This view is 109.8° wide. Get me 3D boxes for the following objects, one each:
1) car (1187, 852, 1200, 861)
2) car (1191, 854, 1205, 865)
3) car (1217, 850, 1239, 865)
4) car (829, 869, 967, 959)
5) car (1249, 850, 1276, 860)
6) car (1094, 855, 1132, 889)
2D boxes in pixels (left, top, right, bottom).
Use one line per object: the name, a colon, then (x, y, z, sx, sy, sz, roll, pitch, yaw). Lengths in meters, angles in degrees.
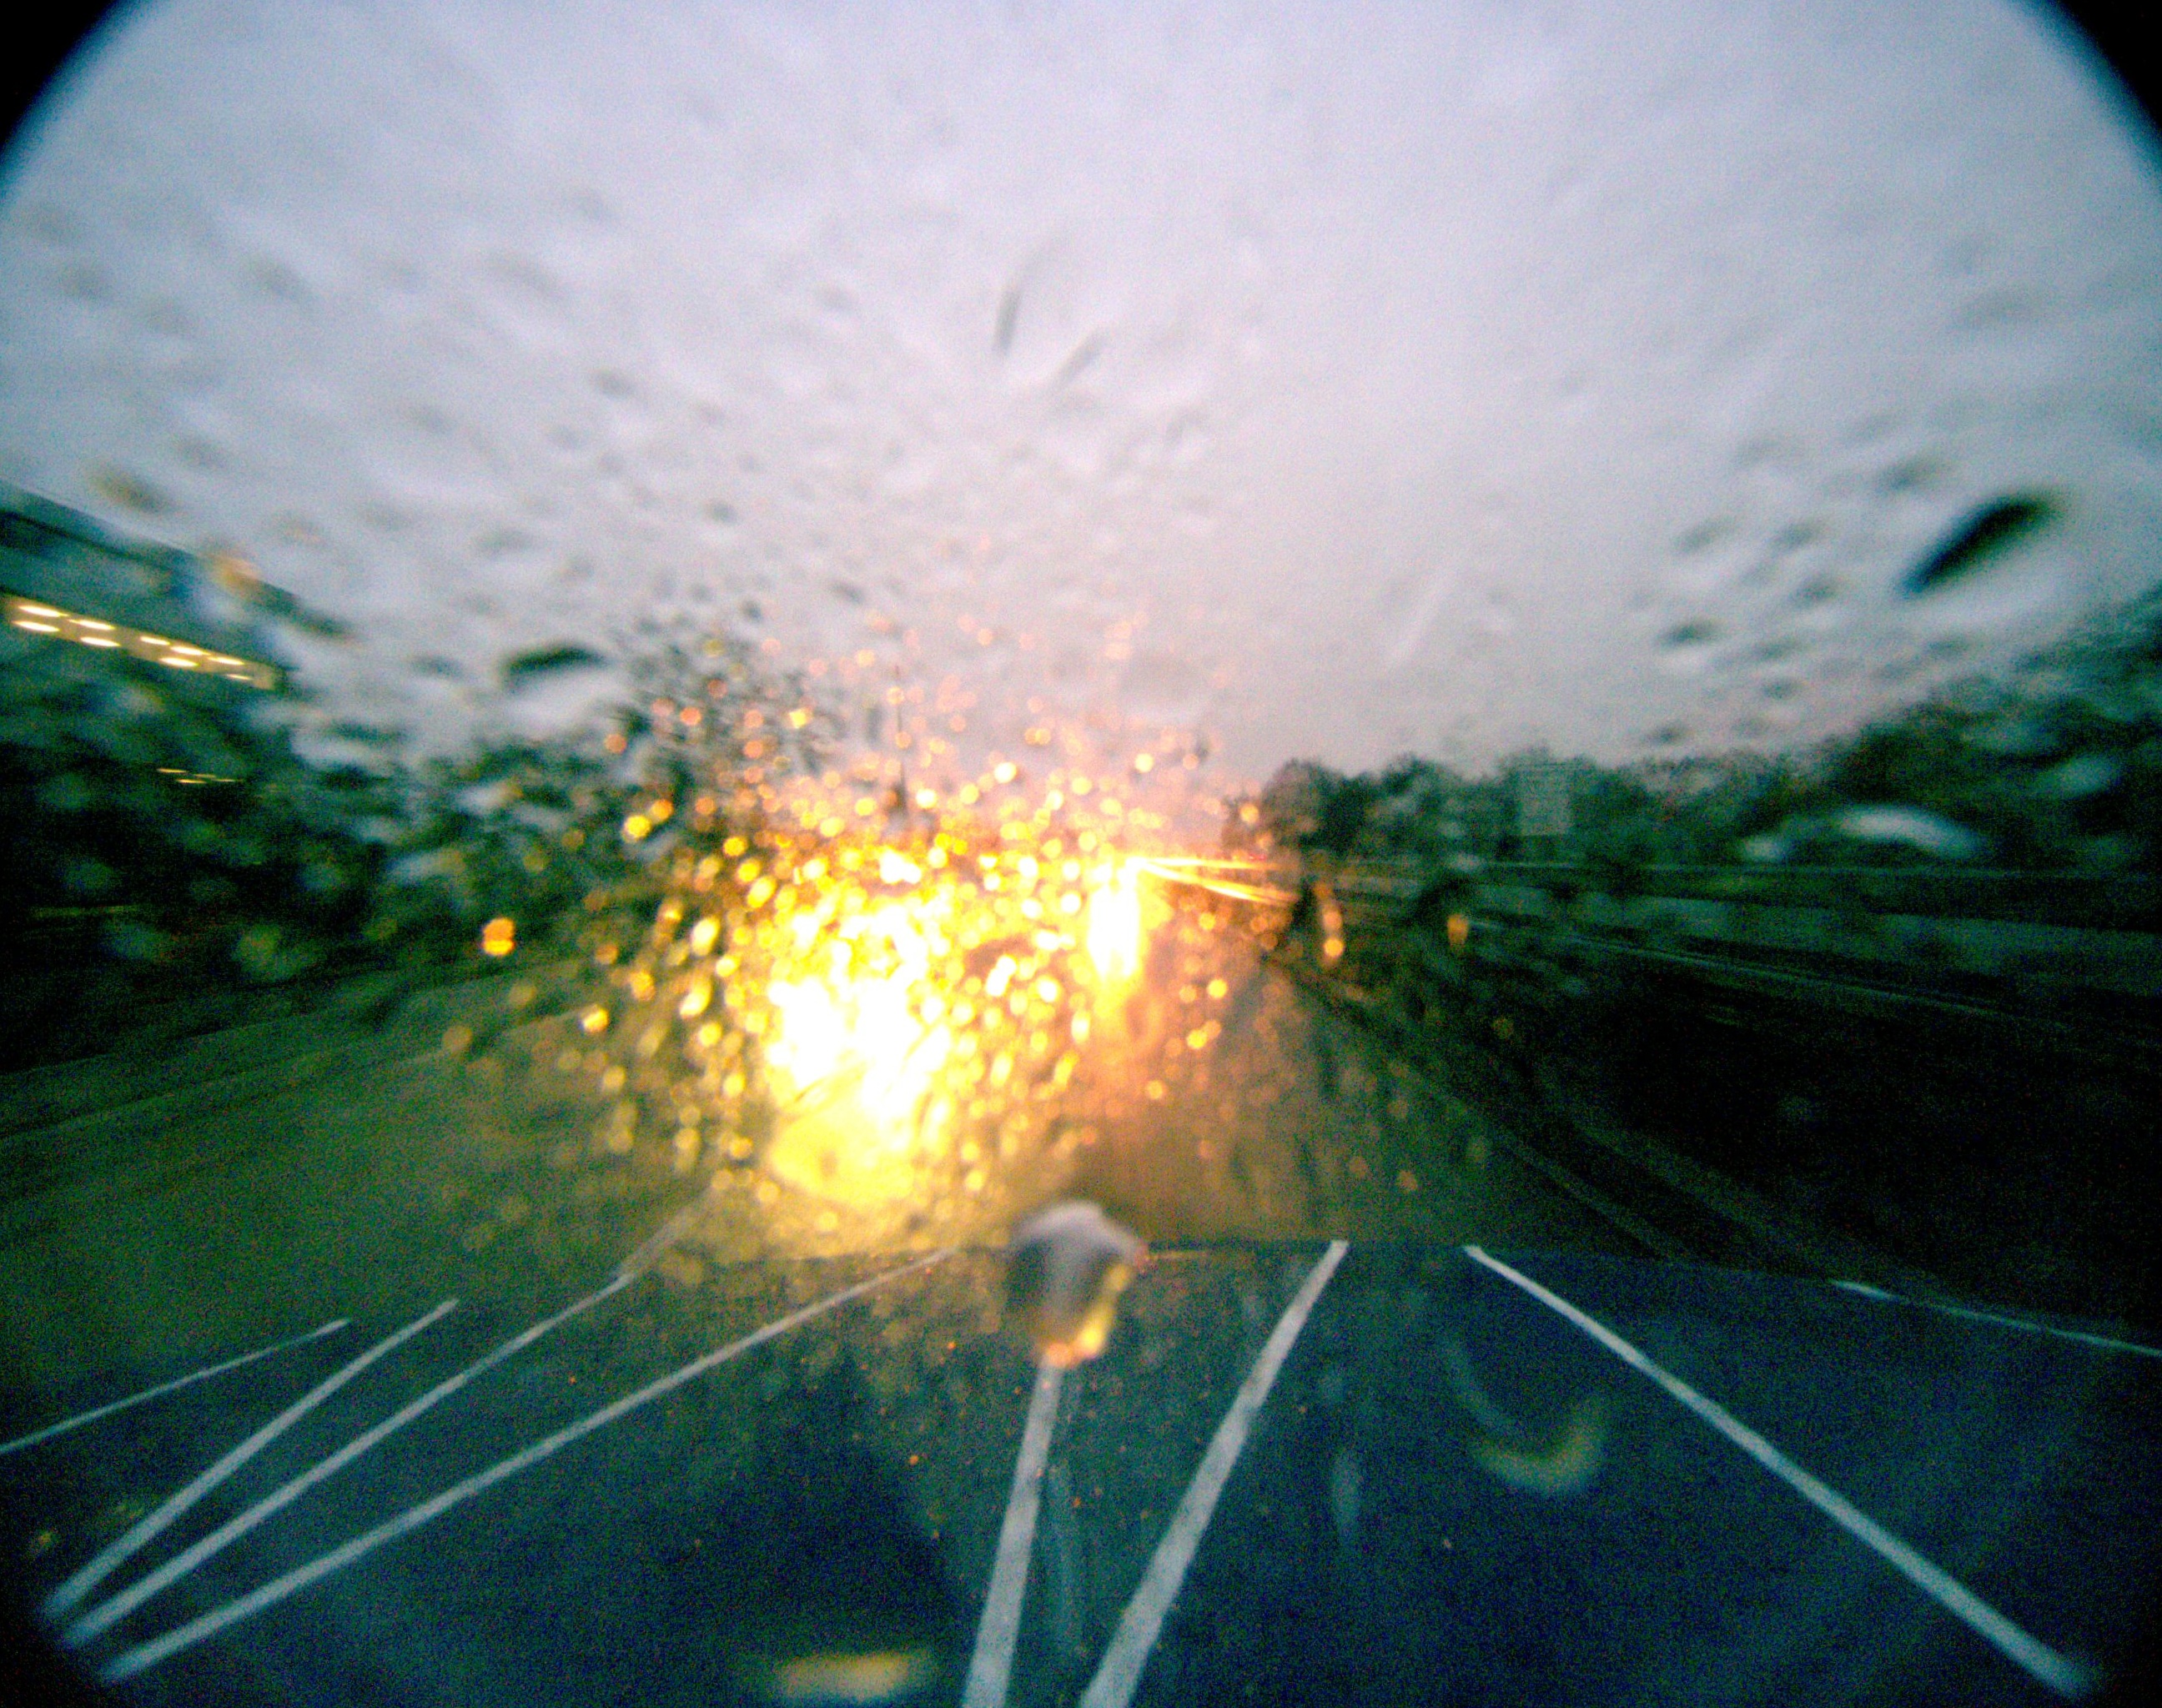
car: (21.040, 0.503, 142.300, 1.870, 1.618, 4.646, -2, 0, 4)
car: (18.900, 0.913, 122.831, 1.870, 1.618, 4.780, -2, 0, 4)
car: (15.104, 0.322, 78.227, 1.701, 1.433, 3.682, -2, 0, 2)
car: (-3.462, 1.073, 15.138, 1.595, 1.445, 4.177, -2, 0, 1)
car: (22.258, 0.156, 93.265, 1.802, 1.155, 3.997, -2, 0, -8)
car: (1.587, 0.864, 37.706, 1.758, 1.521, 4.000, -2, 0, 2)
